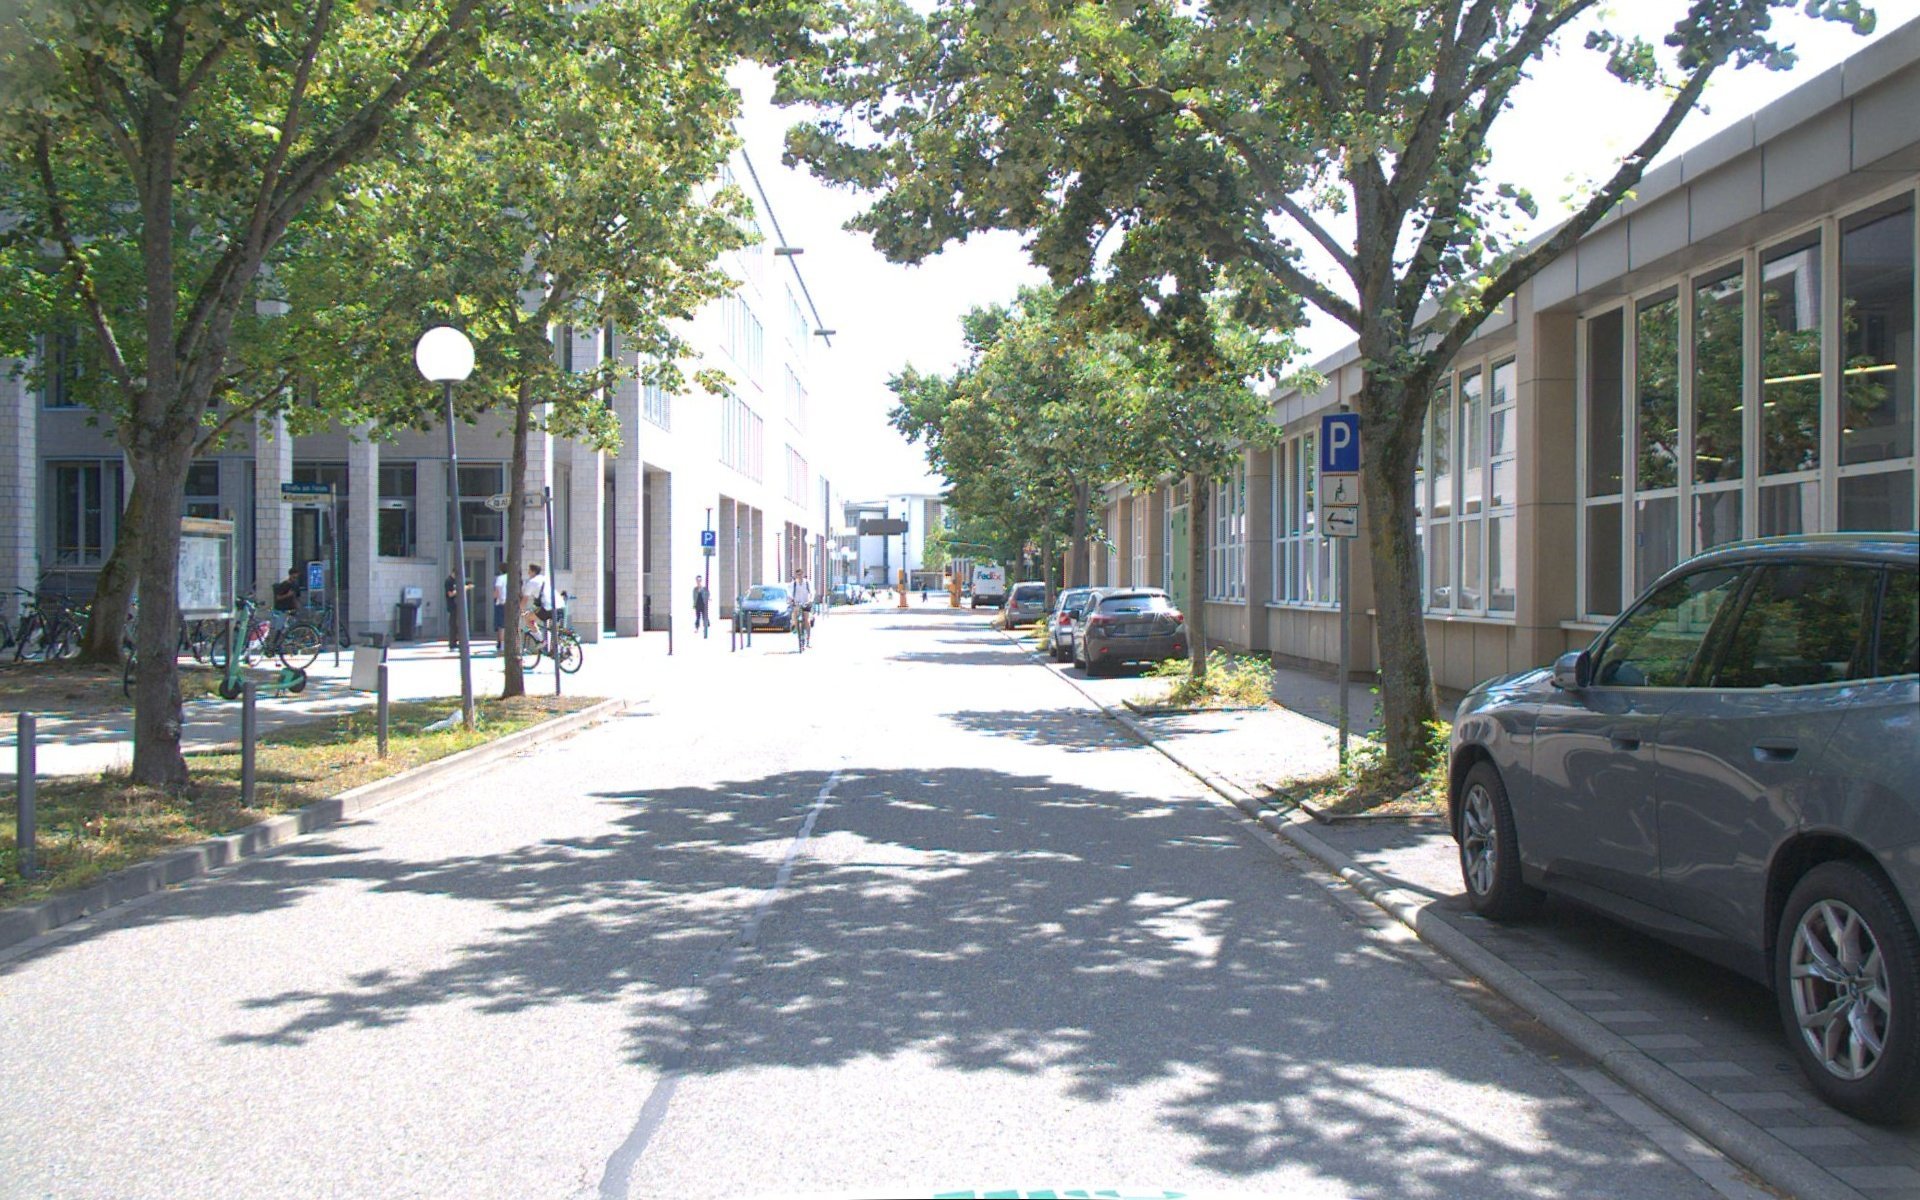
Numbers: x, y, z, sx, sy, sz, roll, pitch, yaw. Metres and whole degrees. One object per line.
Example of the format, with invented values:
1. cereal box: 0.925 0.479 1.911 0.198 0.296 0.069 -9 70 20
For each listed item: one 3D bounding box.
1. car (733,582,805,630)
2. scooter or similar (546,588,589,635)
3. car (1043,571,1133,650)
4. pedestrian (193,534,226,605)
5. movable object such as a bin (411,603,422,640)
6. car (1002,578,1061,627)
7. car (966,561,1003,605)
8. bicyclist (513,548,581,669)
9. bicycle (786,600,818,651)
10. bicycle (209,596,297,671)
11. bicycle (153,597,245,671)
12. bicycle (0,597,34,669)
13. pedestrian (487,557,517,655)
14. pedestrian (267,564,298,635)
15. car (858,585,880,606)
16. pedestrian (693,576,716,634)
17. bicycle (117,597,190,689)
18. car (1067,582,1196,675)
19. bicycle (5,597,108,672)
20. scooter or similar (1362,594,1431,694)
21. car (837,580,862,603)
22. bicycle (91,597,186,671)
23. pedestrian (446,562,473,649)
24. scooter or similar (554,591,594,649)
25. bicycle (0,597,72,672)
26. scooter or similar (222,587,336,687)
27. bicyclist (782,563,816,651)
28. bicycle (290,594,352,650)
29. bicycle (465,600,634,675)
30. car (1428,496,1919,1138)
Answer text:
1. car: -6.040 0.173 52.721 1.730 1.452 4.235 0 0 1
2. scooter or similar: -10.446 0.293 44.026 0.521 1.231 1.537 0 1 -38
3. car: 2.673 0.195 35.141 1.583 1.565 3.779 0 0 -1
4. pedestrian: -18.272 -0.737 40.274 0.627 1.690 0.686 0 0 -33
5. movable object such as a bin: -13.593 0.528 41.373 0.165 0.910 0.448 0 0 -6
6. car: 2.463 0.068 57.524 1.820 1.601 4.000 -1 0 0
7. car: 1.488 -1.041 100.384 2.041 2.584 4.315 1 1 -1
8. bicyclist: -7.100 0.139 28.470 0.829 2.049 0.877 1 0 11
9. bicycle: -3.734 0.595 39.126 0.671 1.149 1.887 0 1 -3
10. bicycle: -11.158 0.506 26.168 0.540 1.105 1.973 2 0 -1
11. bicycle: -12.093 0.514 26.343 0.540 1.105 1.973 2 0 -1
12. bicycle: -15.457 0.525 26.139 0.540 1.105 1.973 2 0 -1
13. pedestrian: -9.357 0.113 33.799 0.408 1.975 0.656 1 0 -30
14. pedestrian: -13.776 -0.012 33.648 0.457 1.407 0.443 -1 4 -11
15. car: -7.163 -0.334 130.175 1.612 1.524 3.727 0 -1 -1
16. pedestrian: -7.741 0.149 50.084 0.638 1.731 0.887 1 0 -11
17. bicycle: -9.689 0.495 19.920 0.375 1.043 1.809 0 0 -13
18. car: 2.991 0.446 29.634 1.744 1.502 4.461 -1 1 -1
19. bicycle: -14.309 0.522 26.256 0.540 1.105 1.973 2 0 -1
20. scooter or similar: 5.825 0.569 22.145 0.500 1.271 1.485 -1 0 -1
21. car: -7.885 -0.587 118.317 1.612 1.524 3.727 0 -1 -1
22. bicycle: -13.188 0.525 26.617 0.540 1.105 1.973 2 0 -1
23. pedestrian: -10.446 0.114 34.536 0.436 1.806 0.446 0 0 -31
24. scooter or similar: -8.503 0.435 36.498 0.445 1.245 1.549 0 0 3
25. bicycle: -14.862 0.523 26.179 0.540 1.105 1.973 2 0 -1
26. scooter or similar: -8.383 0.441 20.391 0.333 1.196 1.324 1 0 34
27. bicyclist: -3.809 0.152 39.187 0.697 2.049 1.018 -1 0 -3
28. bicycle: -13.167 0.435 34.142 0.455 1.032 1.866 2 2 3
29. bicycle: -7.048 0.628 28.452 2.682 1.220 0.886 1 0 11
30. car: 3.343 0.567 6.015 1.786 1.693 4.581 -1 0 -3
